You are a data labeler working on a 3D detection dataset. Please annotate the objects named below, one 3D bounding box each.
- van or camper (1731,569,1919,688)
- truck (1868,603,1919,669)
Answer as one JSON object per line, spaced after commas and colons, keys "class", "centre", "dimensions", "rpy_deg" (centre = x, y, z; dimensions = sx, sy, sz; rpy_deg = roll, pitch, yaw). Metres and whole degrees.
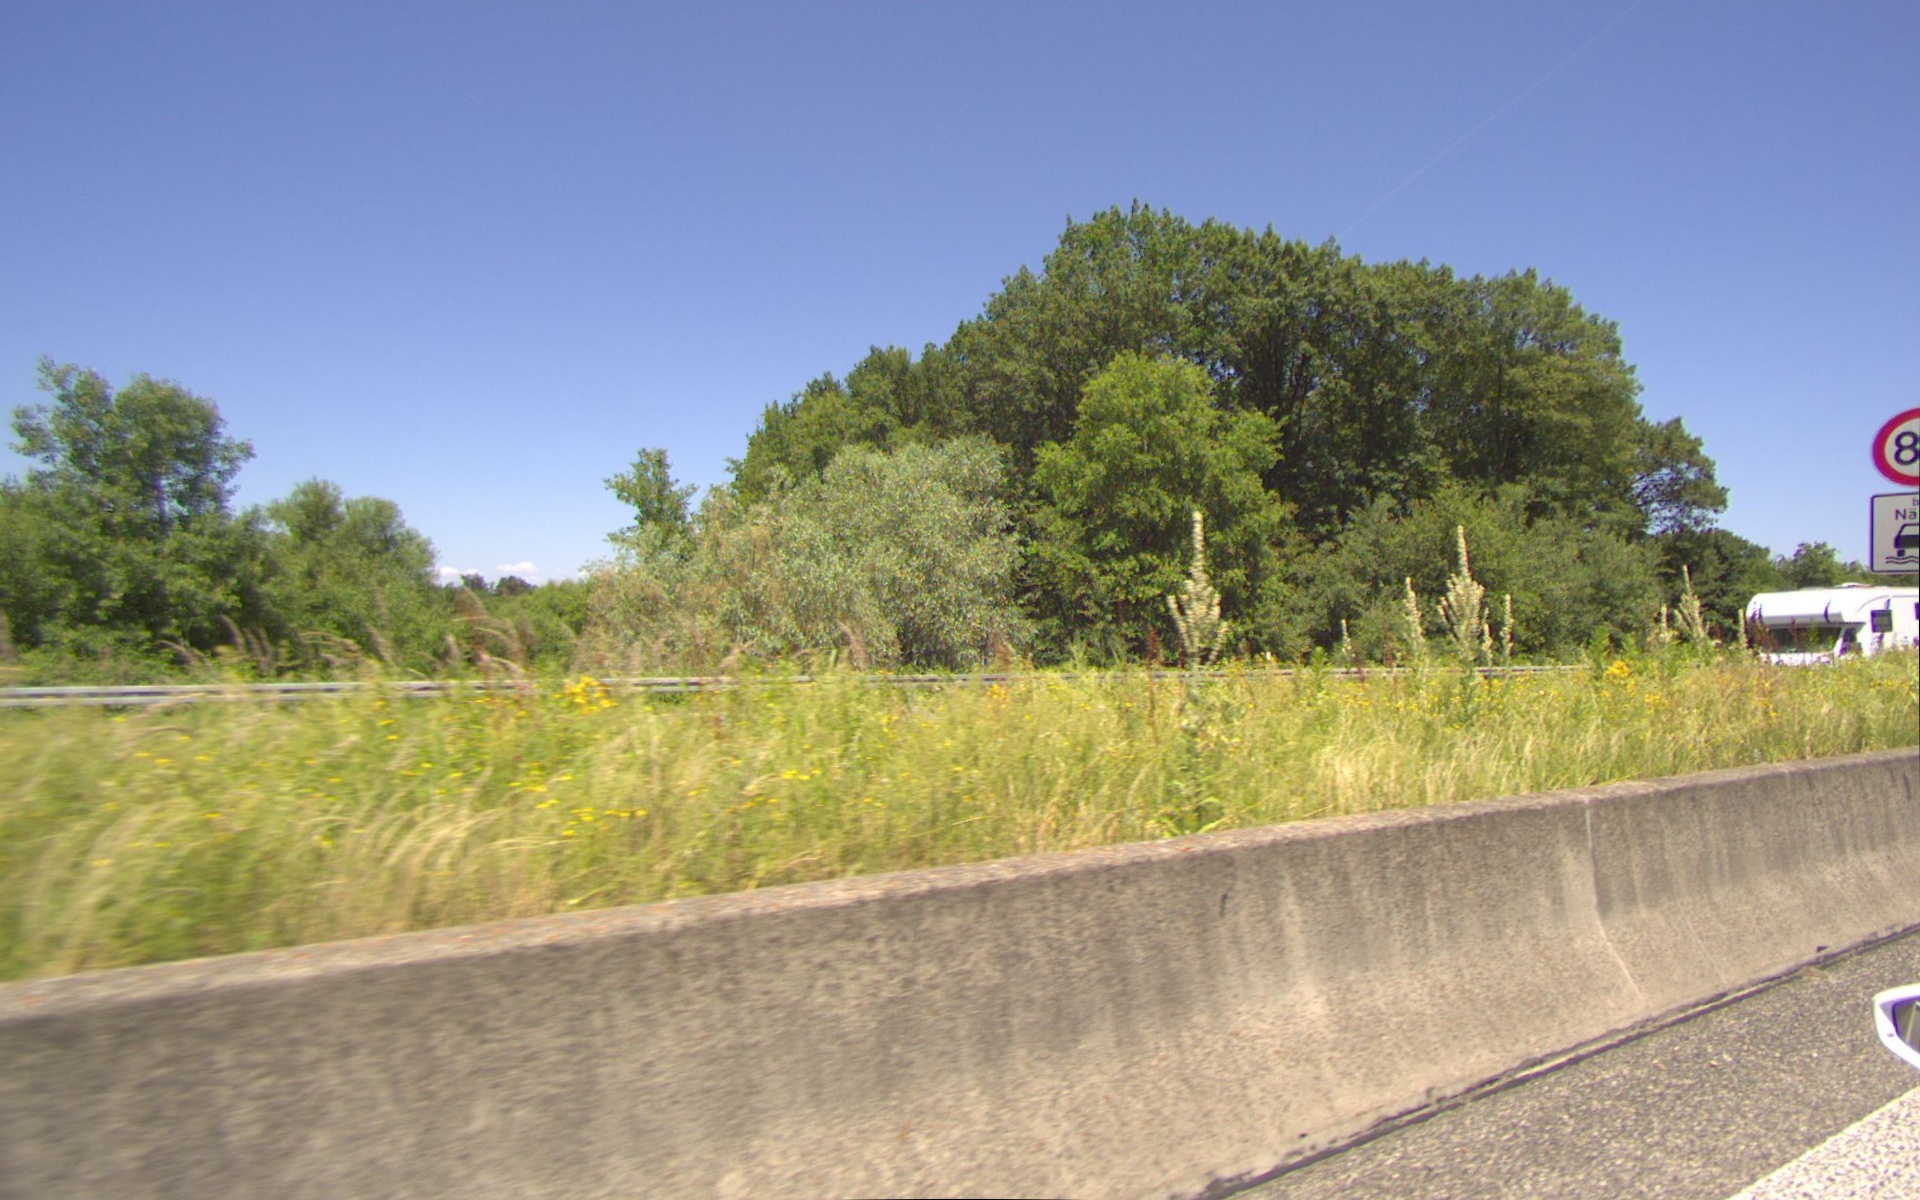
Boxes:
{"class": "van or camper", "centre": [26.340, 0.847, 30.049], "dimensions": [7.443, 3.197, 2.496], "rpy_deg": [1, 0, -30]}
{"class": "truck", "centre": [47.134, 1.730, 47.964], "dimensions": [10.365, 2.981, 2.674], "rpy_deg": [2, -1, -31]}
